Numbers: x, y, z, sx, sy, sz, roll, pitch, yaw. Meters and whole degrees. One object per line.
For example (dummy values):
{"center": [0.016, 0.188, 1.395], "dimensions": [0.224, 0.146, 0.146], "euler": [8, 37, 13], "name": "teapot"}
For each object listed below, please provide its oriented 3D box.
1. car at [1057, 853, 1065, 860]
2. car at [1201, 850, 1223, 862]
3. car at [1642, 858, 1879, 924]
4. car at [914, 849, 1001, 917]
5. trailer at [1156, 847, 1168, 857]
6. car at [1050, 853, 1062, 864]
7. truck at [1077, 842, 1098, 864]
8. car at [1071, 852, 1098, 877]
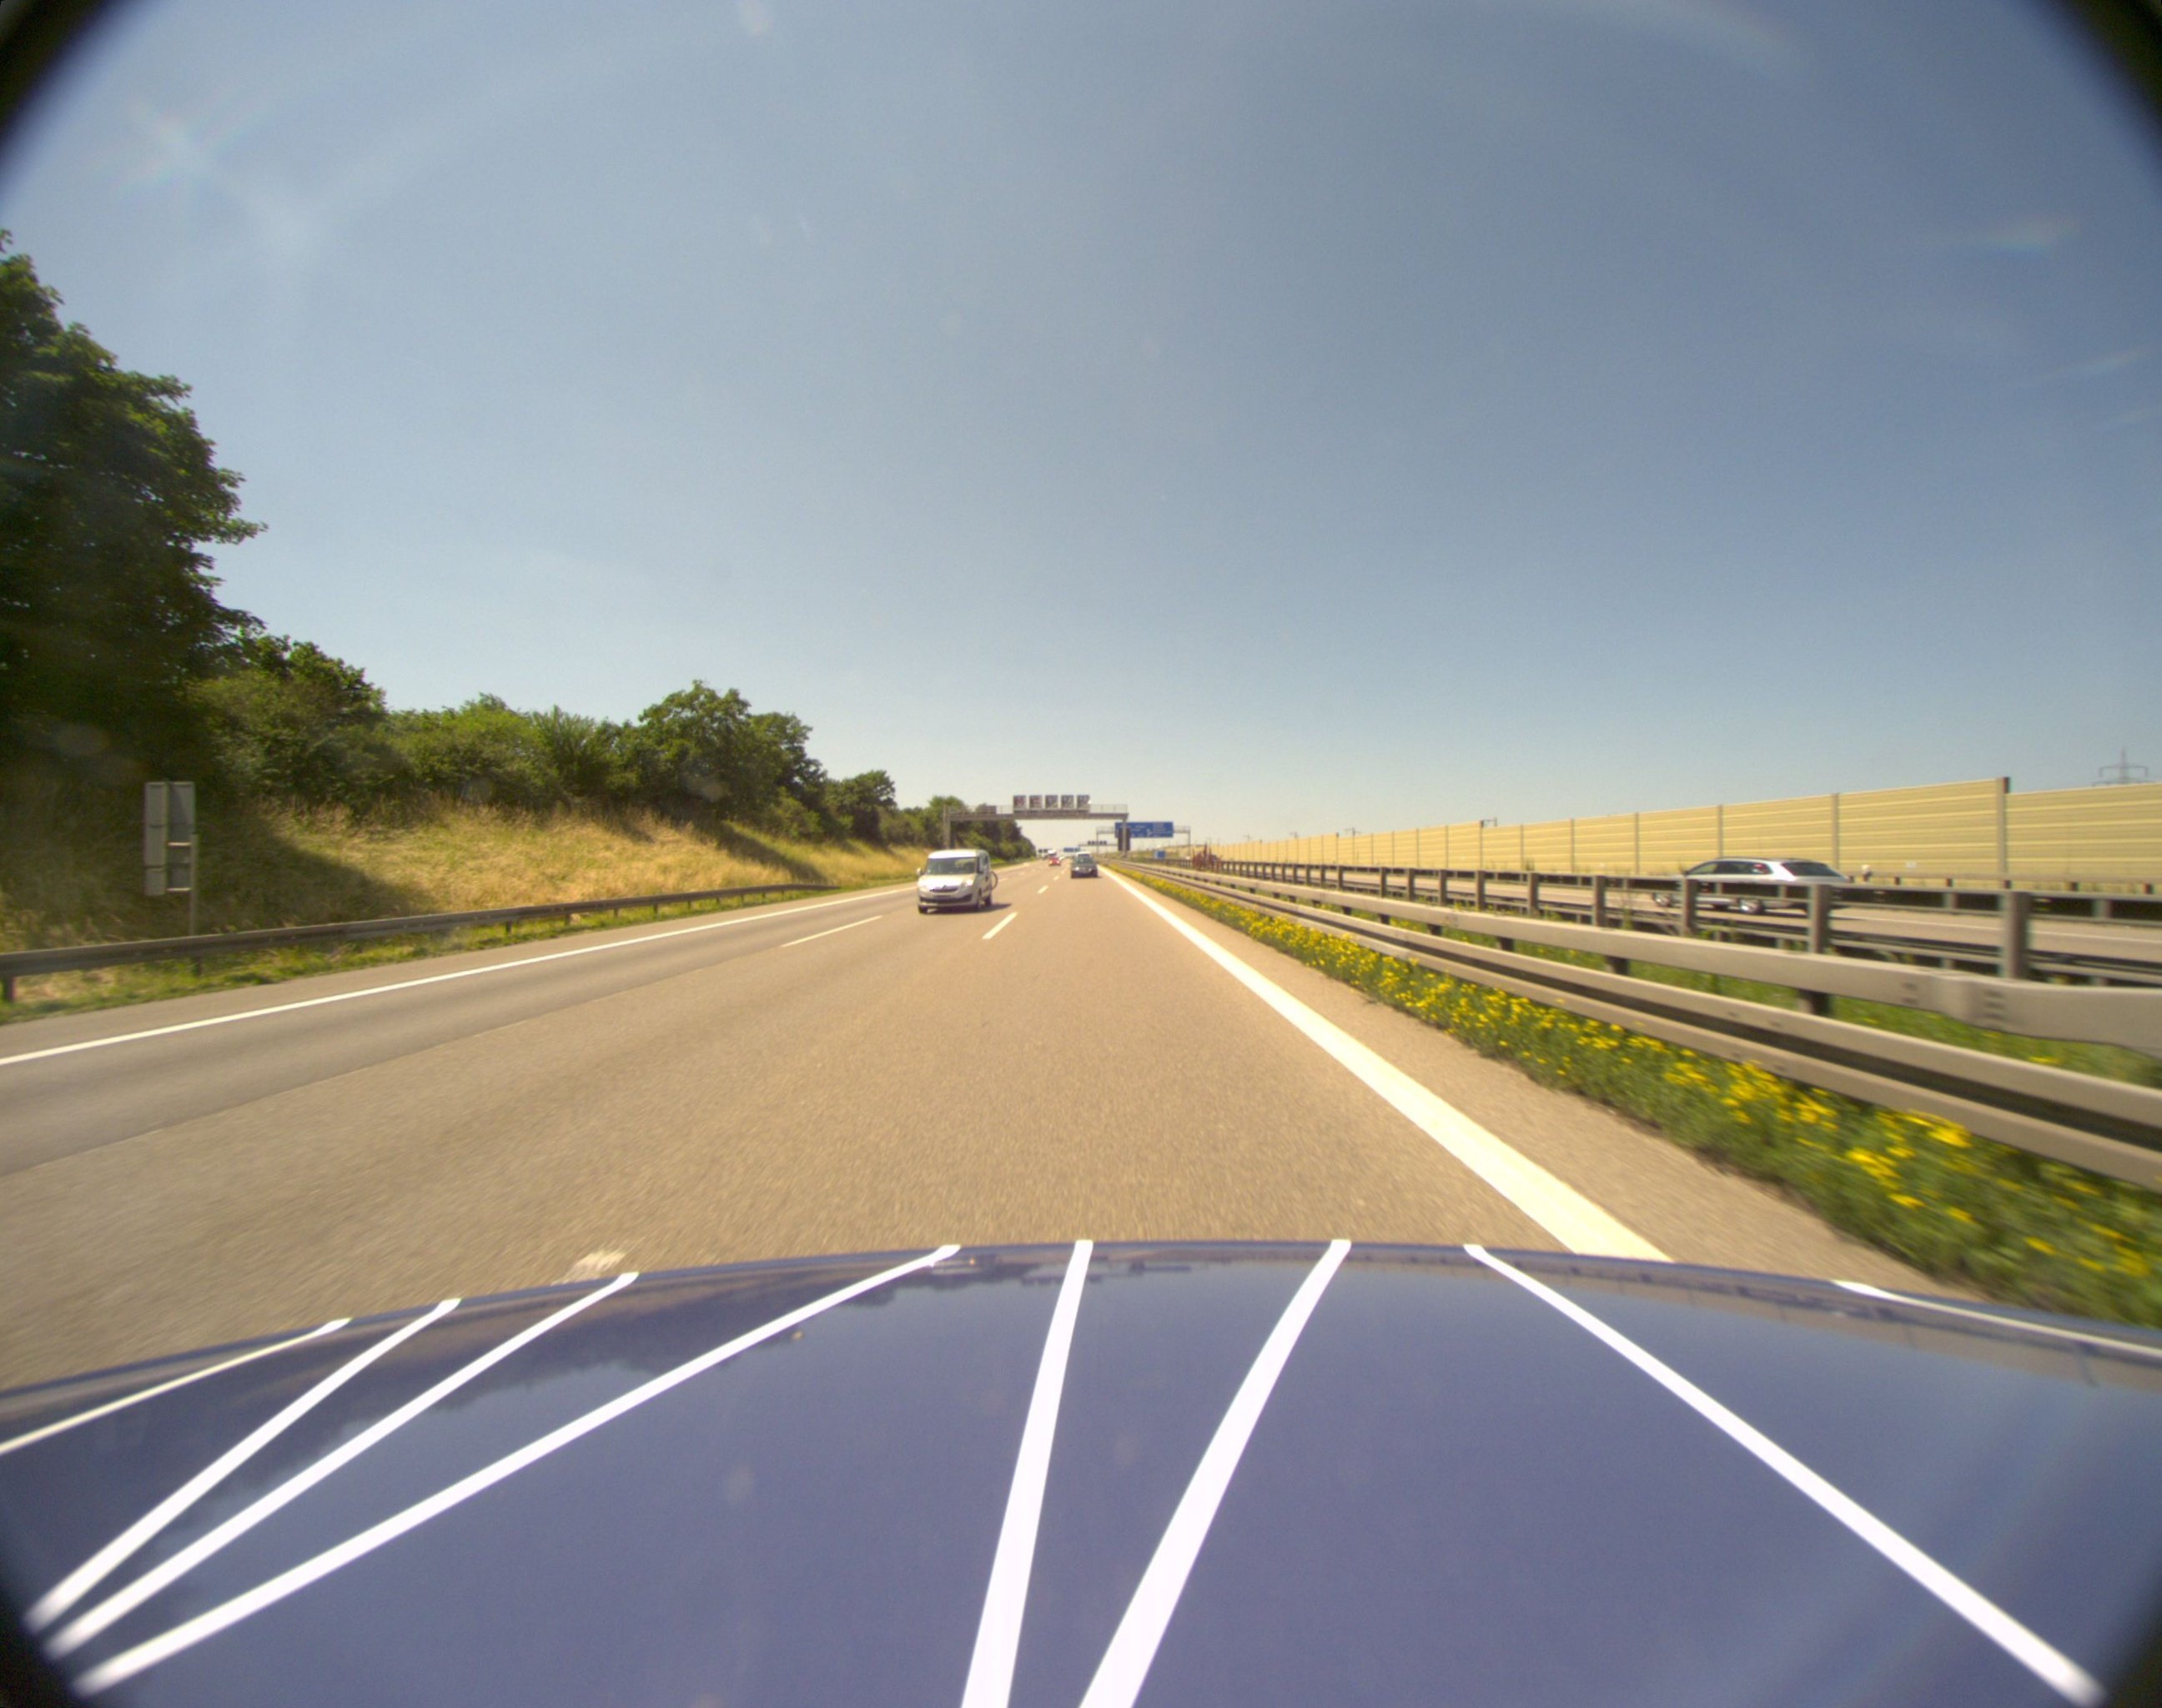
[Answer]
{"center": [-4.652, 0.629, 177.029], "dimensions": [1.723, 1.514, 3.581], "euler": [-2, 1, 0], "name": "car"}
{"center": [17.083, 0.258, 99.289], "dimensions": [1.901, 1.561, 5.246], "euler": [1, 0, 0], "name": "car"}
{"center": [17.658, 0.877, 20.158], "dimensions": [1.998, 1.455, 4.813], "euler": [-1, 0, 0], "name": "car"}
{"center": [-3.688, 0.808, 23.675], "dimensions": [1.812, 1.836, 5.311], "euler": [-2, 0, 0], "name": "car"}
{"center": [17.616, -0.452, 165.369], "dimensions": [1.999, 2.225, 4.204], "euler": [-2, 1, -1], "name": "trailer"}
{"center": [-3.795, 0.690, 114.932], "dimensions": [1.723, 1.514, 3.581], "euler": [-2, 1, 0], "name": "car"}
{"center": [0.690, -0.172, 90.537], "dimensions": [2.333, 2.378, 6.686], "euler": [-2, 1, 0], "name": "truck"}
{"center": [0.224, 0.702, 51.705], "dimensions": [1.715, 1.586, 4.546], "euler": [1, 0, 0], "name": "car"}
